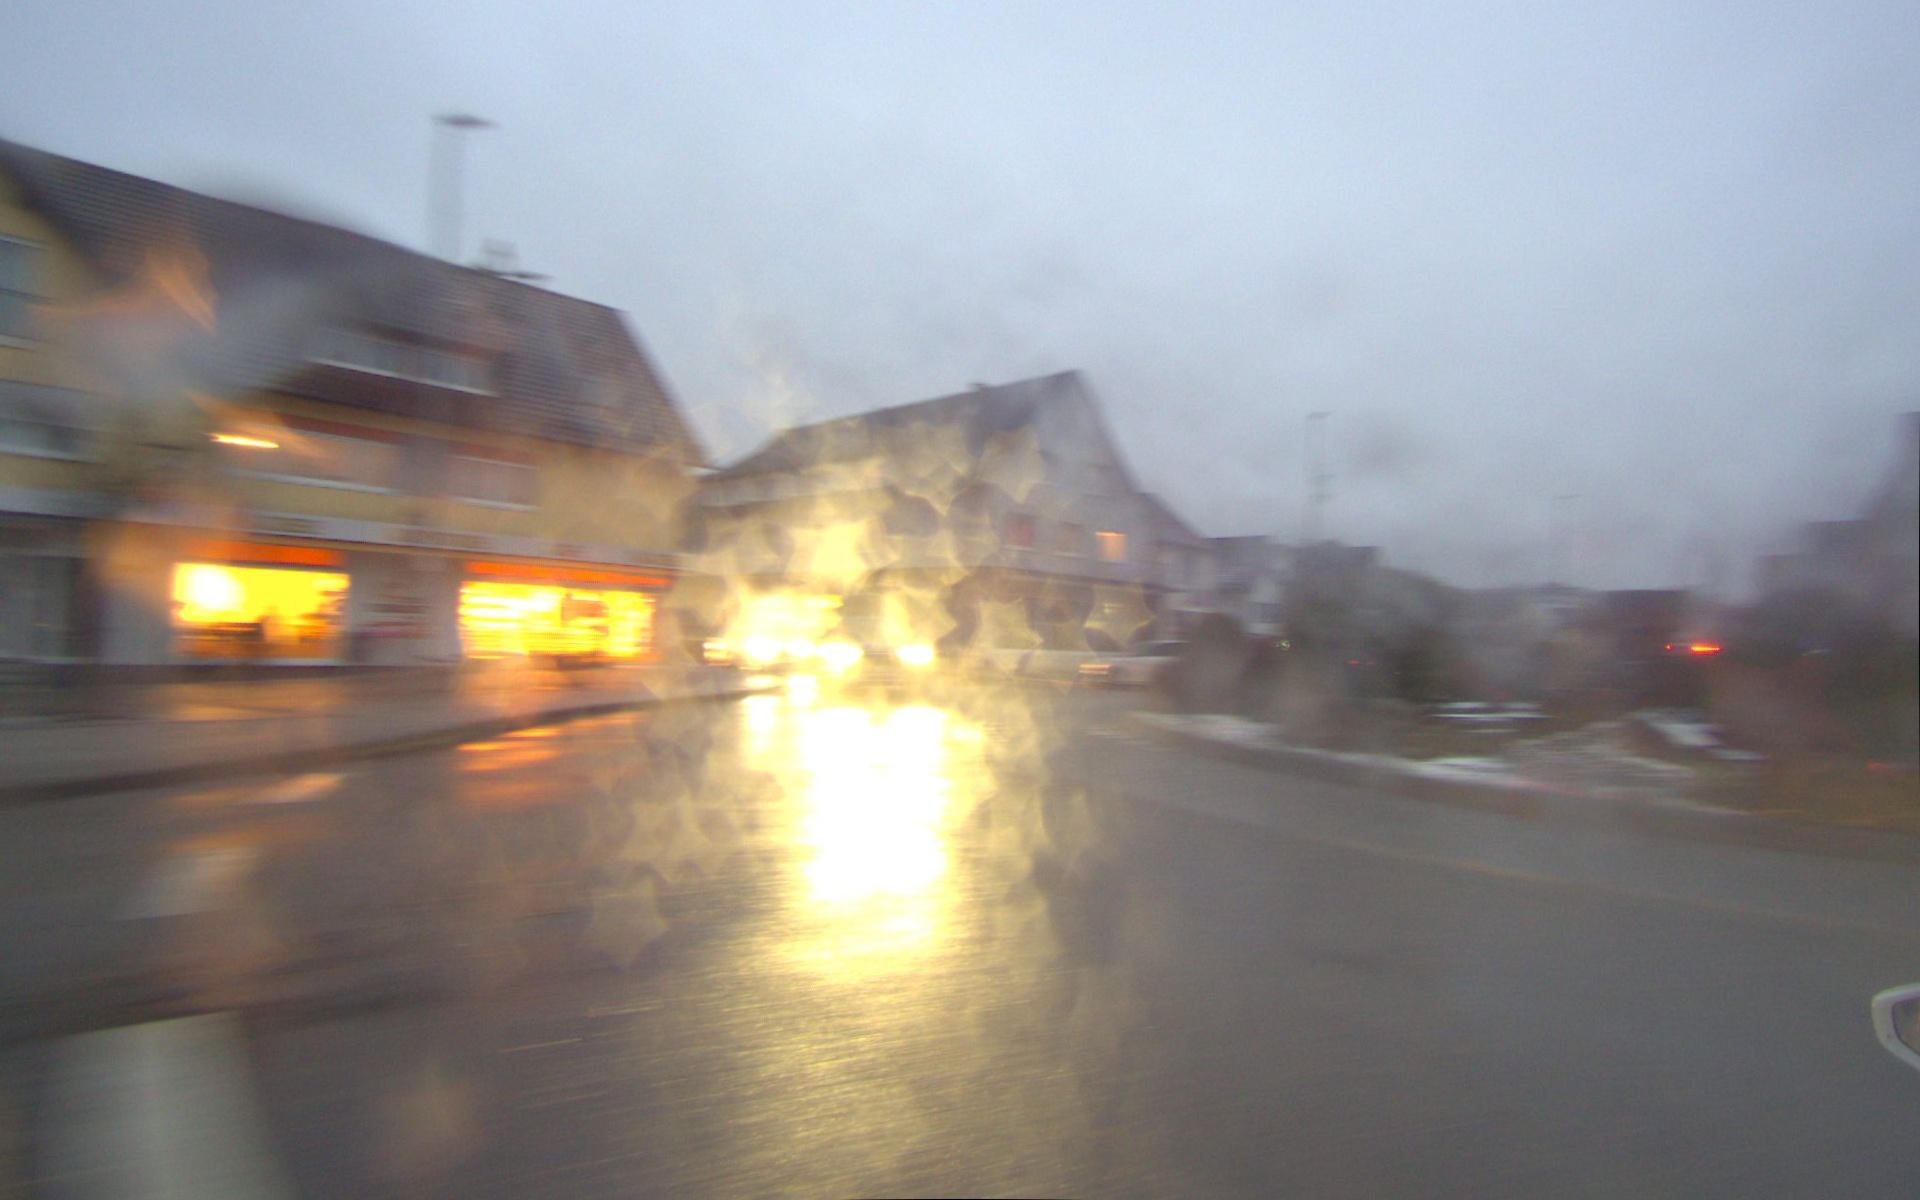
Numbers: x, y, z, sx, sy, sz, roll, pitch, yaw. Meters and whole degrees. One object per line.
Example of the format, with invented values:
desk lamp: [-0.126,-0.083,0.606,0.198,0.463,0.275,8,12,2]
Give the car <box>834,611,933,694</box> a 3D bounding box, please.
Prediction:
car: [-1.621,1.083,21.902,1.916,1.614,4.631,0,-1,-3]

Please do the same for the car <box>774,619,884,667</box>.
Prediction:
car: [-5.110,1.634,38.880,4.439,1.632,1.888,1,-2,45]

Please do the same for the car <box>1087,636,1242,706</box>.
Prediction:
car: [5.573,1.898,27.572,3.842,1.658,1.644,1,-2,39]
